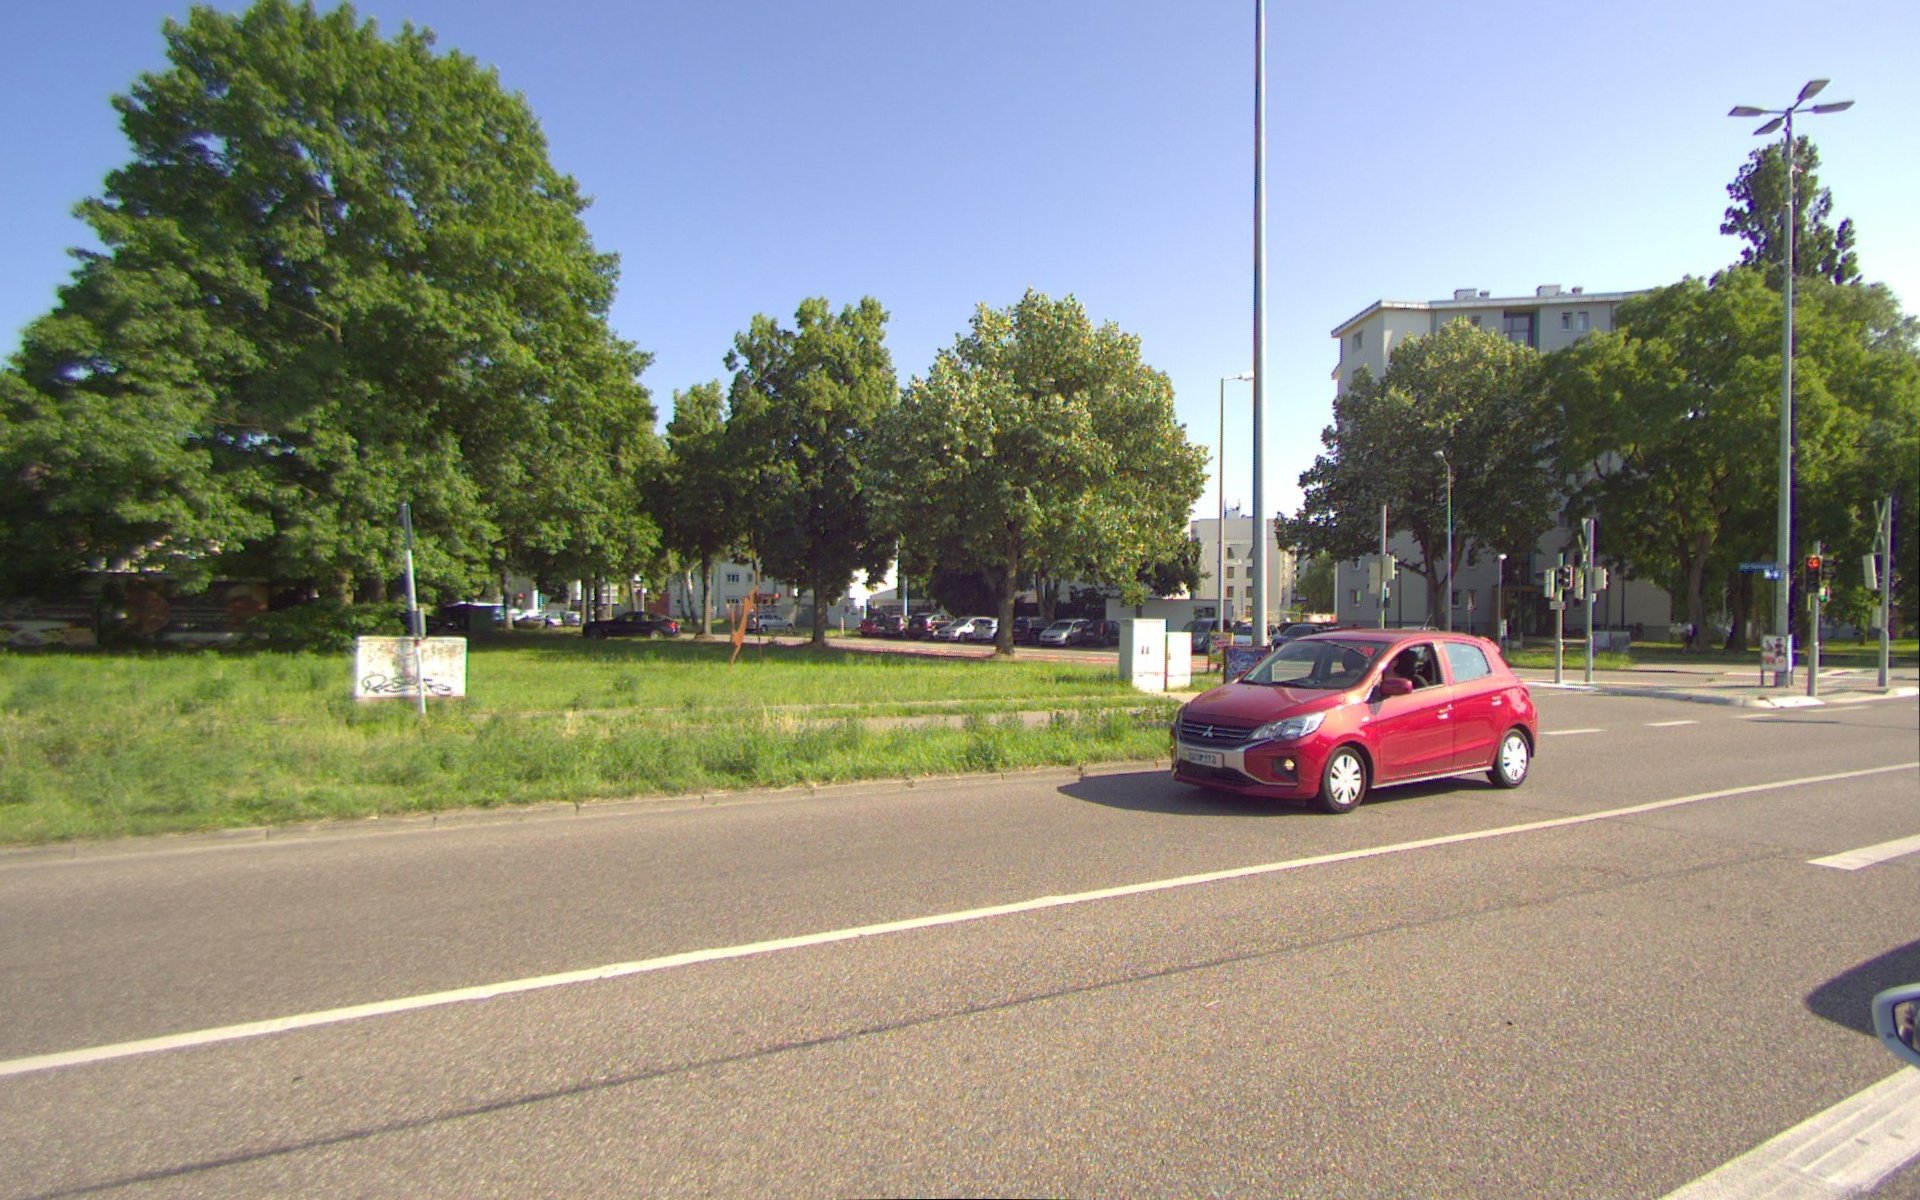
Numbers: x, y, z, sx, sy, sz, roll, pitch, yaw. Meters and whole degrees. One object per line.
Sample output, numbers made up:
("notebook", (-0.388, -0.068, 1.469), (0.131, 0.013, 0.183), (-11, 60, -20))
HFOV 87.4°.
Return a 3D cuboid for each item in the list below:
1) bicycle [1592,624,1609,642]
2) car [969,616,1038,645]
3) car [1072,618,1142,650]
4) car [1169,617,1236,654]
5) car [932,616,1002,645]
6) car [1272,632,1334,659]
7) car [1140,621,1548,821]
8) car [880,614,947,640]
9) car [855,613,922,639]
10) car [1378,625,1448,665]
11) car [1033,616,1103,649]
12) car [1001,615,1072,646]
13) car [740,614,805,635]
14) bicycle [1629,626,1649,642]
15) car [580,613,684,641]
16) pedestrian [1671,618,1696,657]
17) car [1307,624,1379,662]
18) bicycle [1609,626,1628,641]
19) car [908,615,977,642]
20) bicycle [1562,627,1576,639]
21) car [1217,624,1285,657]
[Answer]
("bicycle", (40.801, 2.089, 63.996), (0.601, 1.080, 1.916), (1, -2, 24))
("car", (2.707, 1.816, 61.456), (1.758, 1.497, 4.755), (0, 2, 39))
("car", (8.423, 1.890, 57.151), (1.758, 1.497, 4.791), (0, 2, 39))
("car", (12.678, 1.845, 52.398), (1.759, 1.835, 3.979), (0, -1, 41))
("car", (0.509, 1.861, 62.698), (1.758, 1.497, 4.791), (0, 2, 39))
("car", (16.636, 2.202, 48.674), (1.445, 1.209, 3.765), (0, -1, 43))
("car", (3.612, 0.978, 9.341), (3.634, 1.518, 1.686), (1, -2, -31))
("car", (-3.043, 1.753, 66.875), (1.758, 1.497, 4.791), (0, 2, 39))
("car", (-4.807, 1.746, 68.342), (1.758, 1.497, 4.791), (0, 2, 39))
("car", (20.483, 2.003, 45.336), (1.760, 1.459, 3.977), (0, 2, 43))
("car", (6.267, 1.835, 57.804), (1.758, 1.497, 4.692), (0, 3, 39))
("car", (4.608, 1.795, 59.880), (1.758, 1.497, 4.791), (0, 3, 39))
("car", (-14.199, 1.858, 76.314), (1.760, 1.497, 4.786), (0, -1, 43))
("bicycle", (42.676, 2.131, 63.162), (0.658, 0.932, 2.404), (1, -1, 26))
("car", (-16.253, 1.327, 49.917), (4.682, 1.338, 1.524), (1, -1, -8))
("pedestrian", (33.162, 1.716, 46.038), (0.693, 1.736, 0.623), (1, 0, -18))
("car", (18.093, 1.973, 47.386), (1.761, 1.435, 3.975), (0, 3, 44))
("bicycle", (41.726, 2.122, 63.636), (0.663, 0.887, 2.483), (1, -1, 26))
("car", (-1.063, 1.811, 64.622), (1.758, 1.497, 4.791), (0, 2, 39))
("bicycle", (39.363, 2.100, 64.935), (0.574, 0.718, 2.236), (1, 0, 26))
("car", (14.701, 2.018, 50.560), (1.759, 1.541, 3.979), (0, -1, 41))
